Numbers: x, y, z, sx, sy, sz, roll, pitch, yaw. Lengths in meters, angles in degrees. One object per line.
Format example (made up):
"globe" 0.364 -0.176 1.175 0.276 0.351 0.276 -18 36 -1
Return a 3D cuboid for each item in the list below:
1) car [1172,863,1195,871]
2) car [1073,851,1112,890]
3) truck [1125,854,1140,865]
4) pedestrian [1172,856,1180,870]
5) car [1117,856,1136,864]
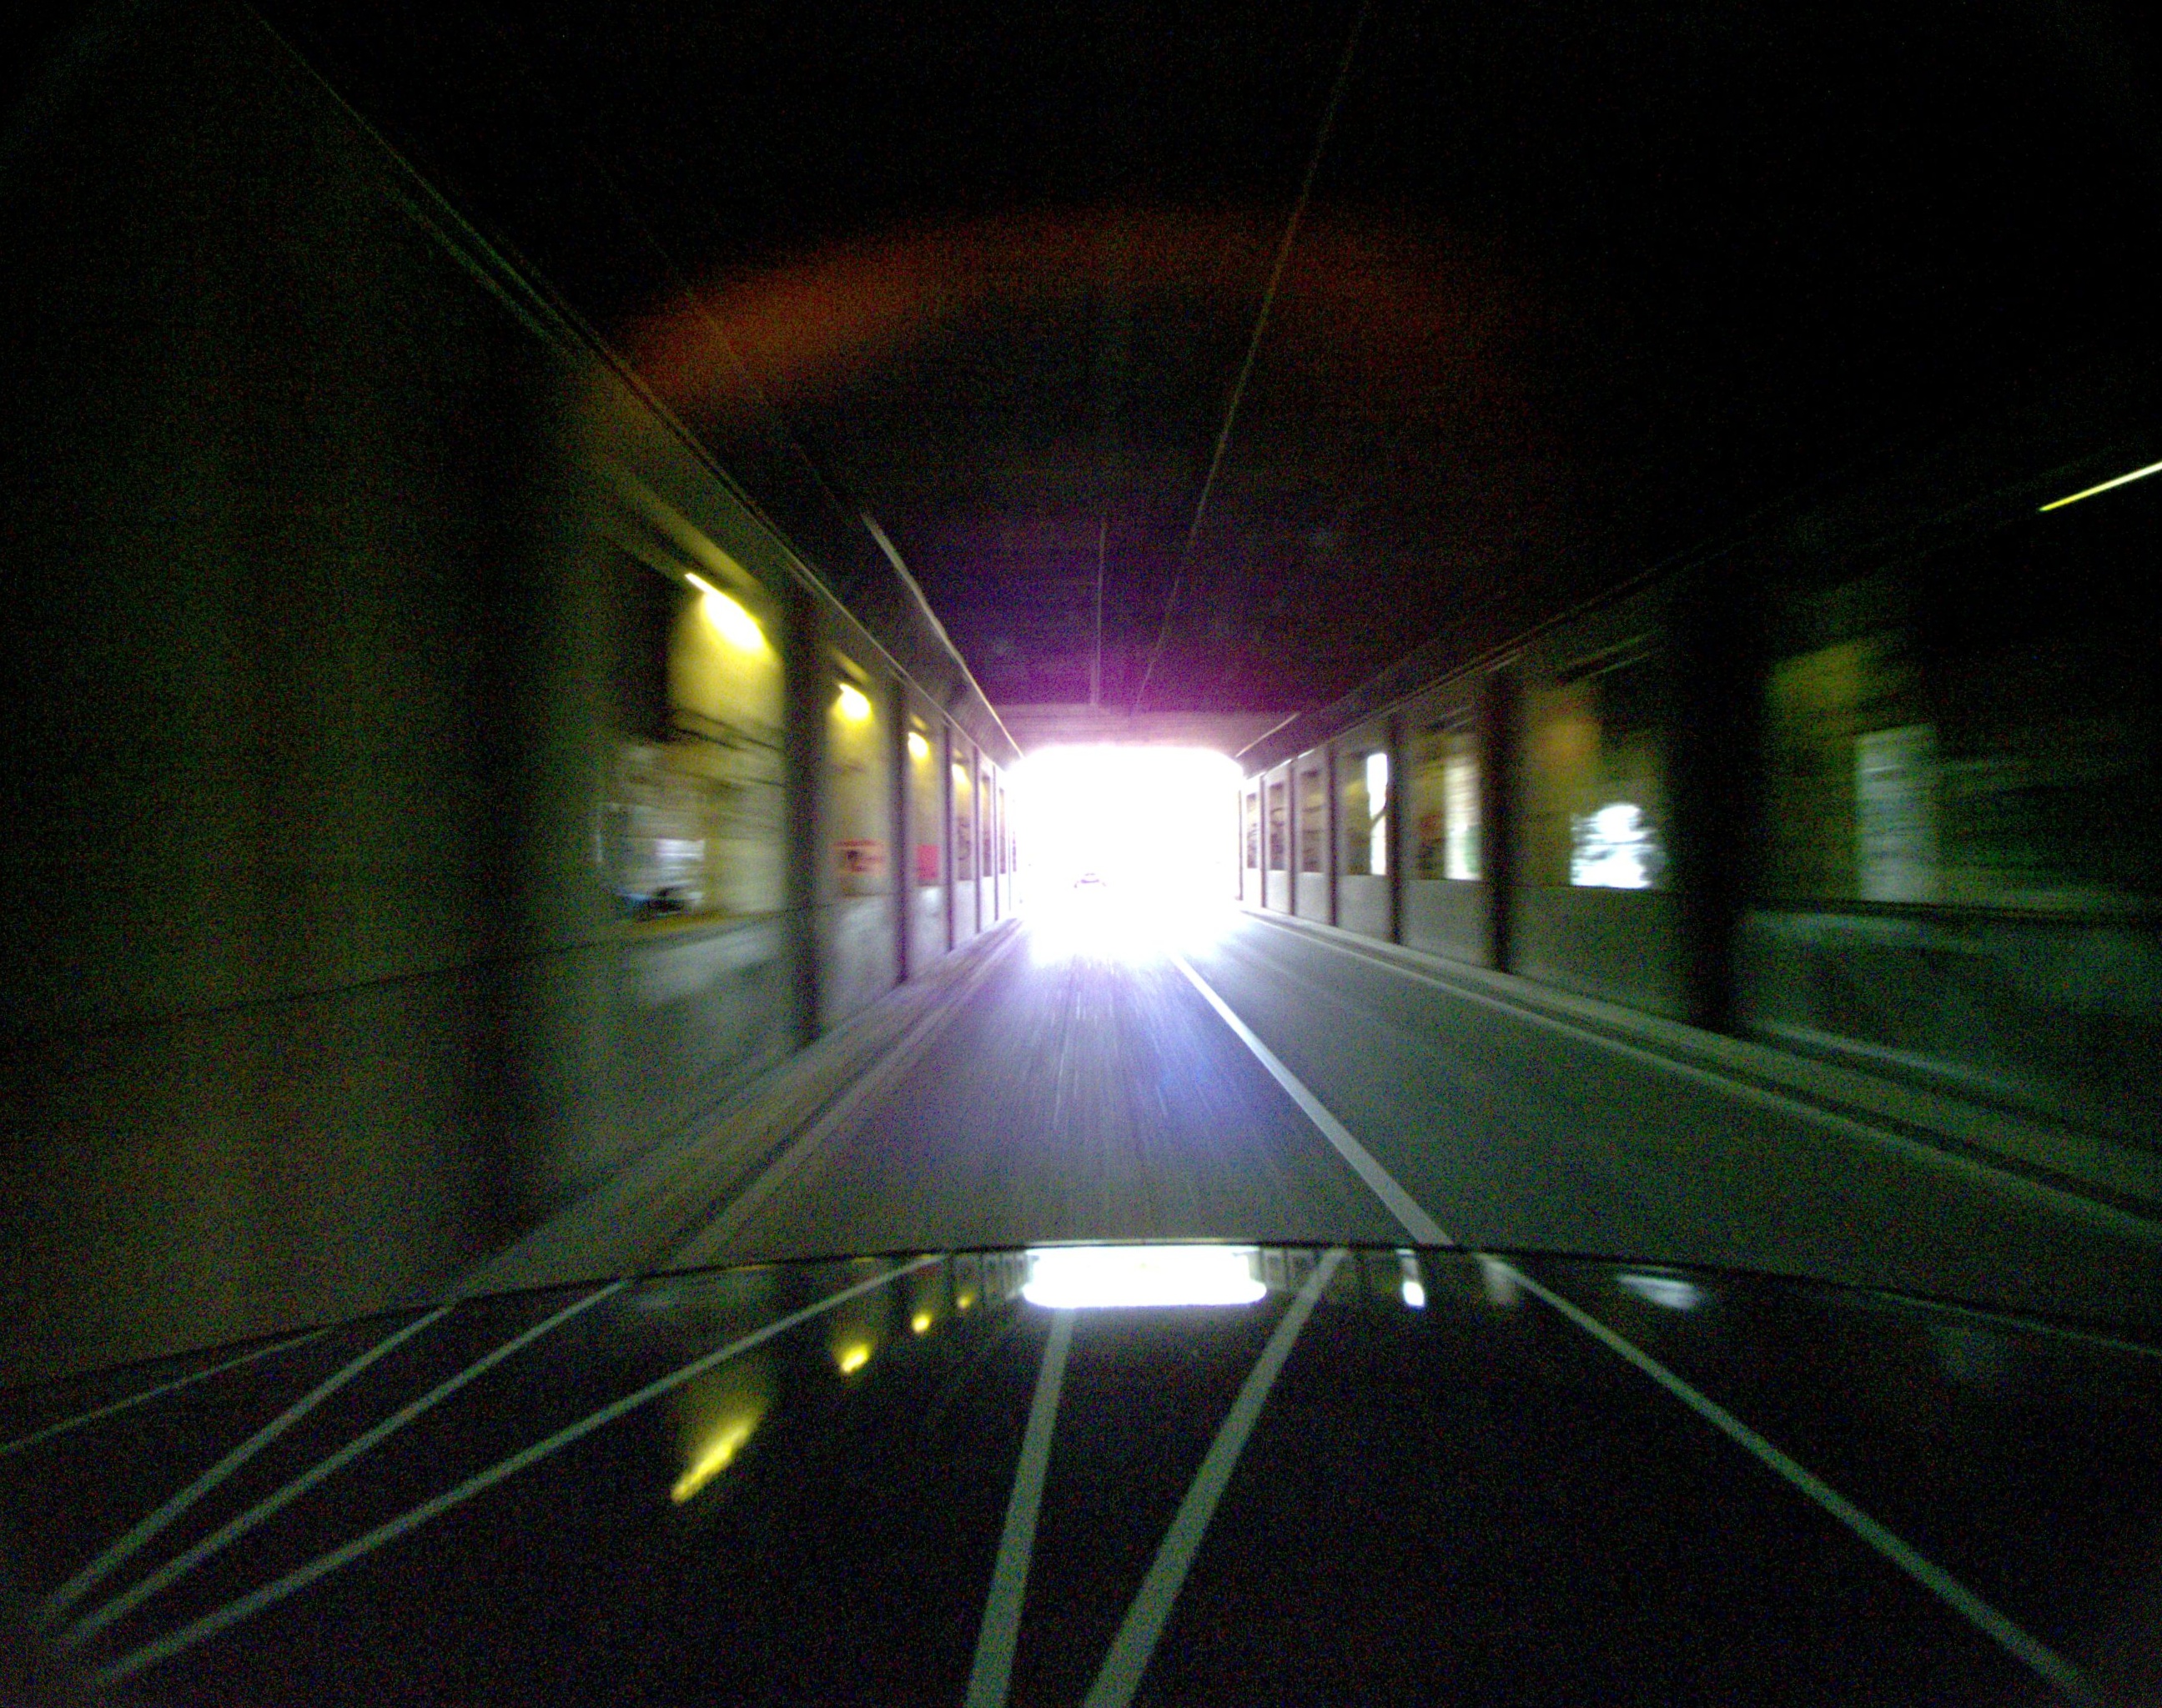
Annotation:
"car" 20.178 2.546 149.836 4.204 1.484 1.943 0 -2 1
"car" 0.571 0.869 42.863 1.941 1.922 4.522 -3 1 -1
"truck" 15.931 1.648 235.289 2.339 2.955 8.041 -2 1 19
"pedestrian" 11.519 1.052 91.863 0.834 1.620 1.181 -2 0 3
"car" 10.861 1.454 180.296 4.140 1.631 1.777 -2 1 22
